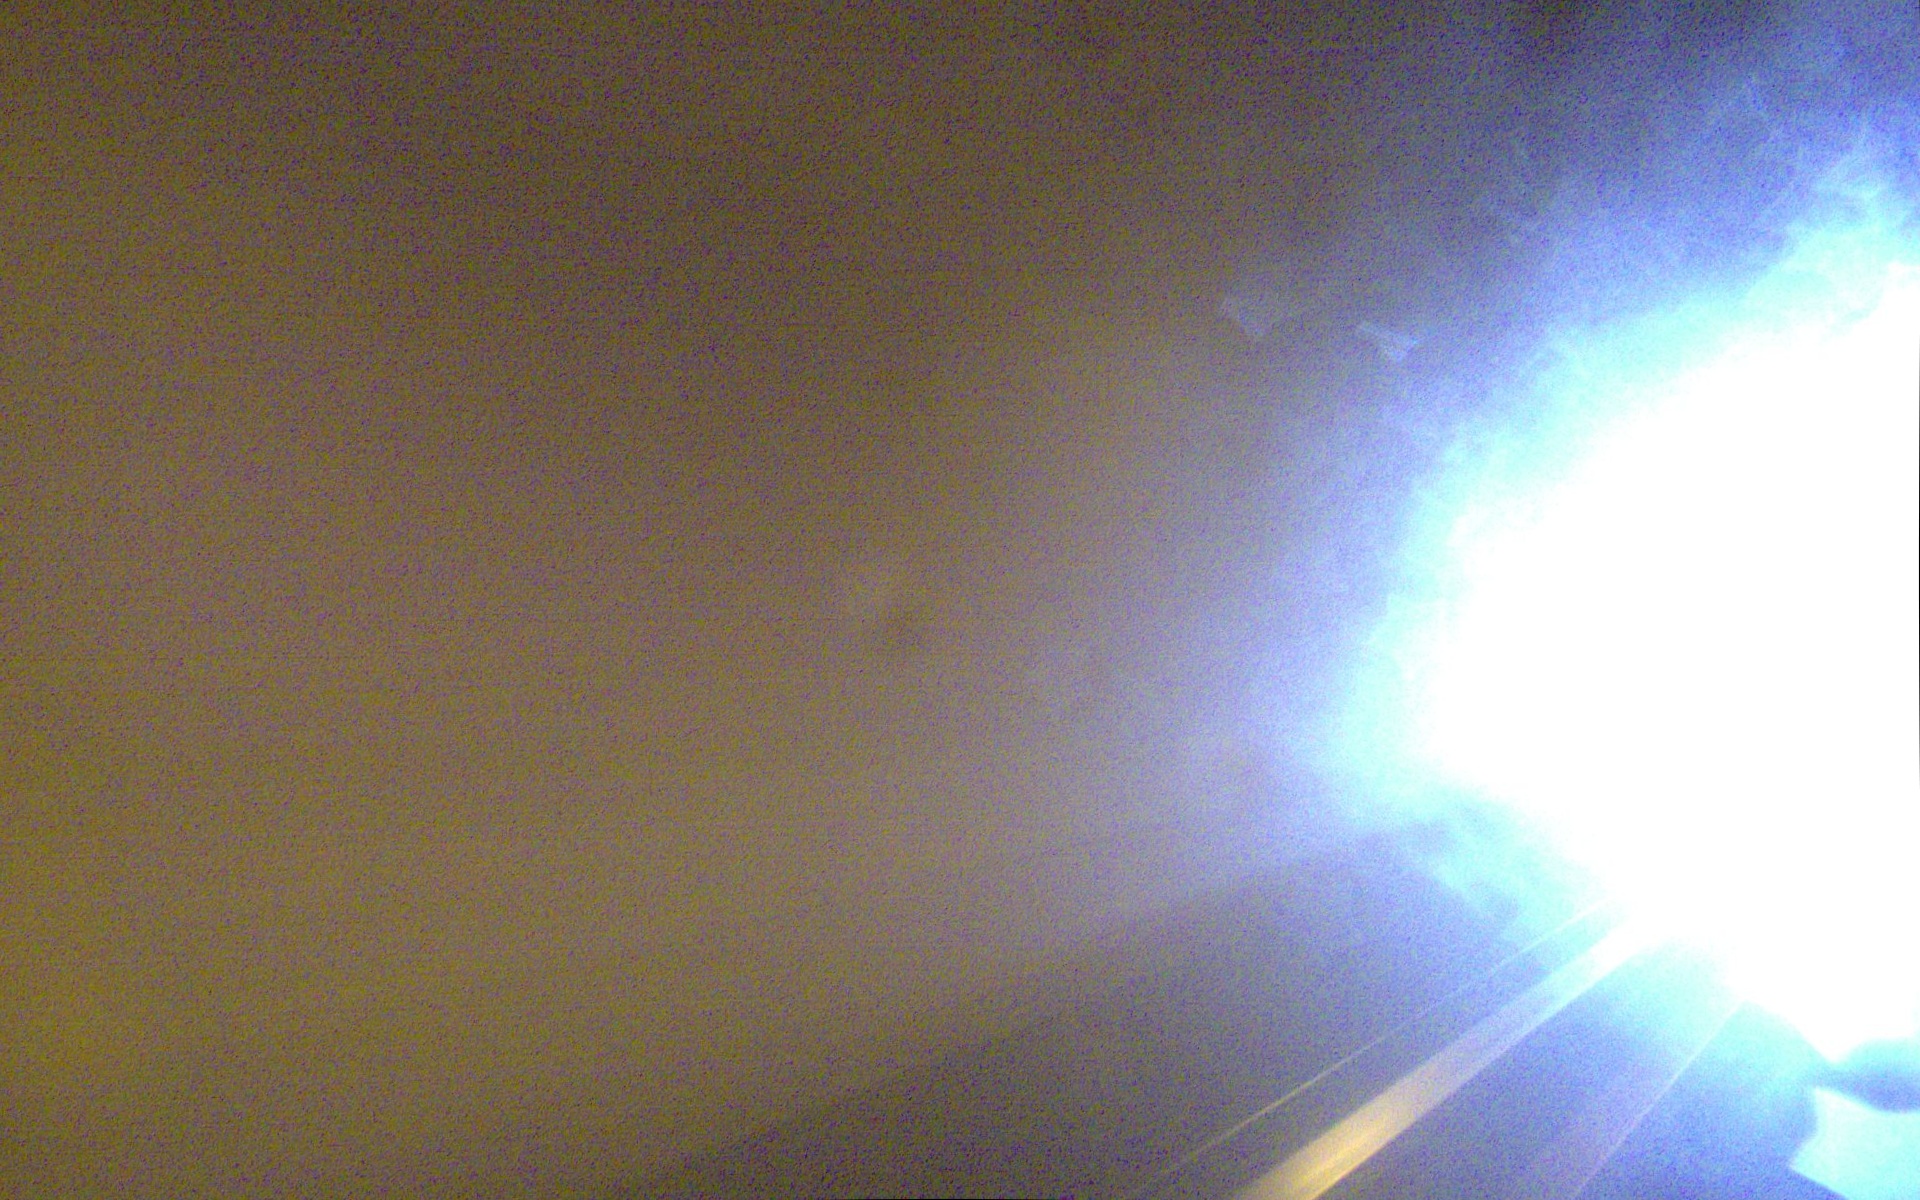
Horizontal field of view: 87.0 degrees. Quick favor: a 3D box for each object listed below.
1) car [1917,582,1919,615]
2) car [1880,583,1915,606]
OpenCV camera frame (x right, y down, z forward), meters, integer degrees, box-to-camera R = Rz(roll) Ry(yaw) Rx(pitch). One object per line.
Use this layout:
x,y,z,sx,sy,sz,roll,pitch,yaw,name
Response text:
62.526,-0.103,64.675,1.895,2.039,3.936,1,2,44,car
75.736,-0.460,81.773,1.701,1.794,3.946,1,2,38,car
